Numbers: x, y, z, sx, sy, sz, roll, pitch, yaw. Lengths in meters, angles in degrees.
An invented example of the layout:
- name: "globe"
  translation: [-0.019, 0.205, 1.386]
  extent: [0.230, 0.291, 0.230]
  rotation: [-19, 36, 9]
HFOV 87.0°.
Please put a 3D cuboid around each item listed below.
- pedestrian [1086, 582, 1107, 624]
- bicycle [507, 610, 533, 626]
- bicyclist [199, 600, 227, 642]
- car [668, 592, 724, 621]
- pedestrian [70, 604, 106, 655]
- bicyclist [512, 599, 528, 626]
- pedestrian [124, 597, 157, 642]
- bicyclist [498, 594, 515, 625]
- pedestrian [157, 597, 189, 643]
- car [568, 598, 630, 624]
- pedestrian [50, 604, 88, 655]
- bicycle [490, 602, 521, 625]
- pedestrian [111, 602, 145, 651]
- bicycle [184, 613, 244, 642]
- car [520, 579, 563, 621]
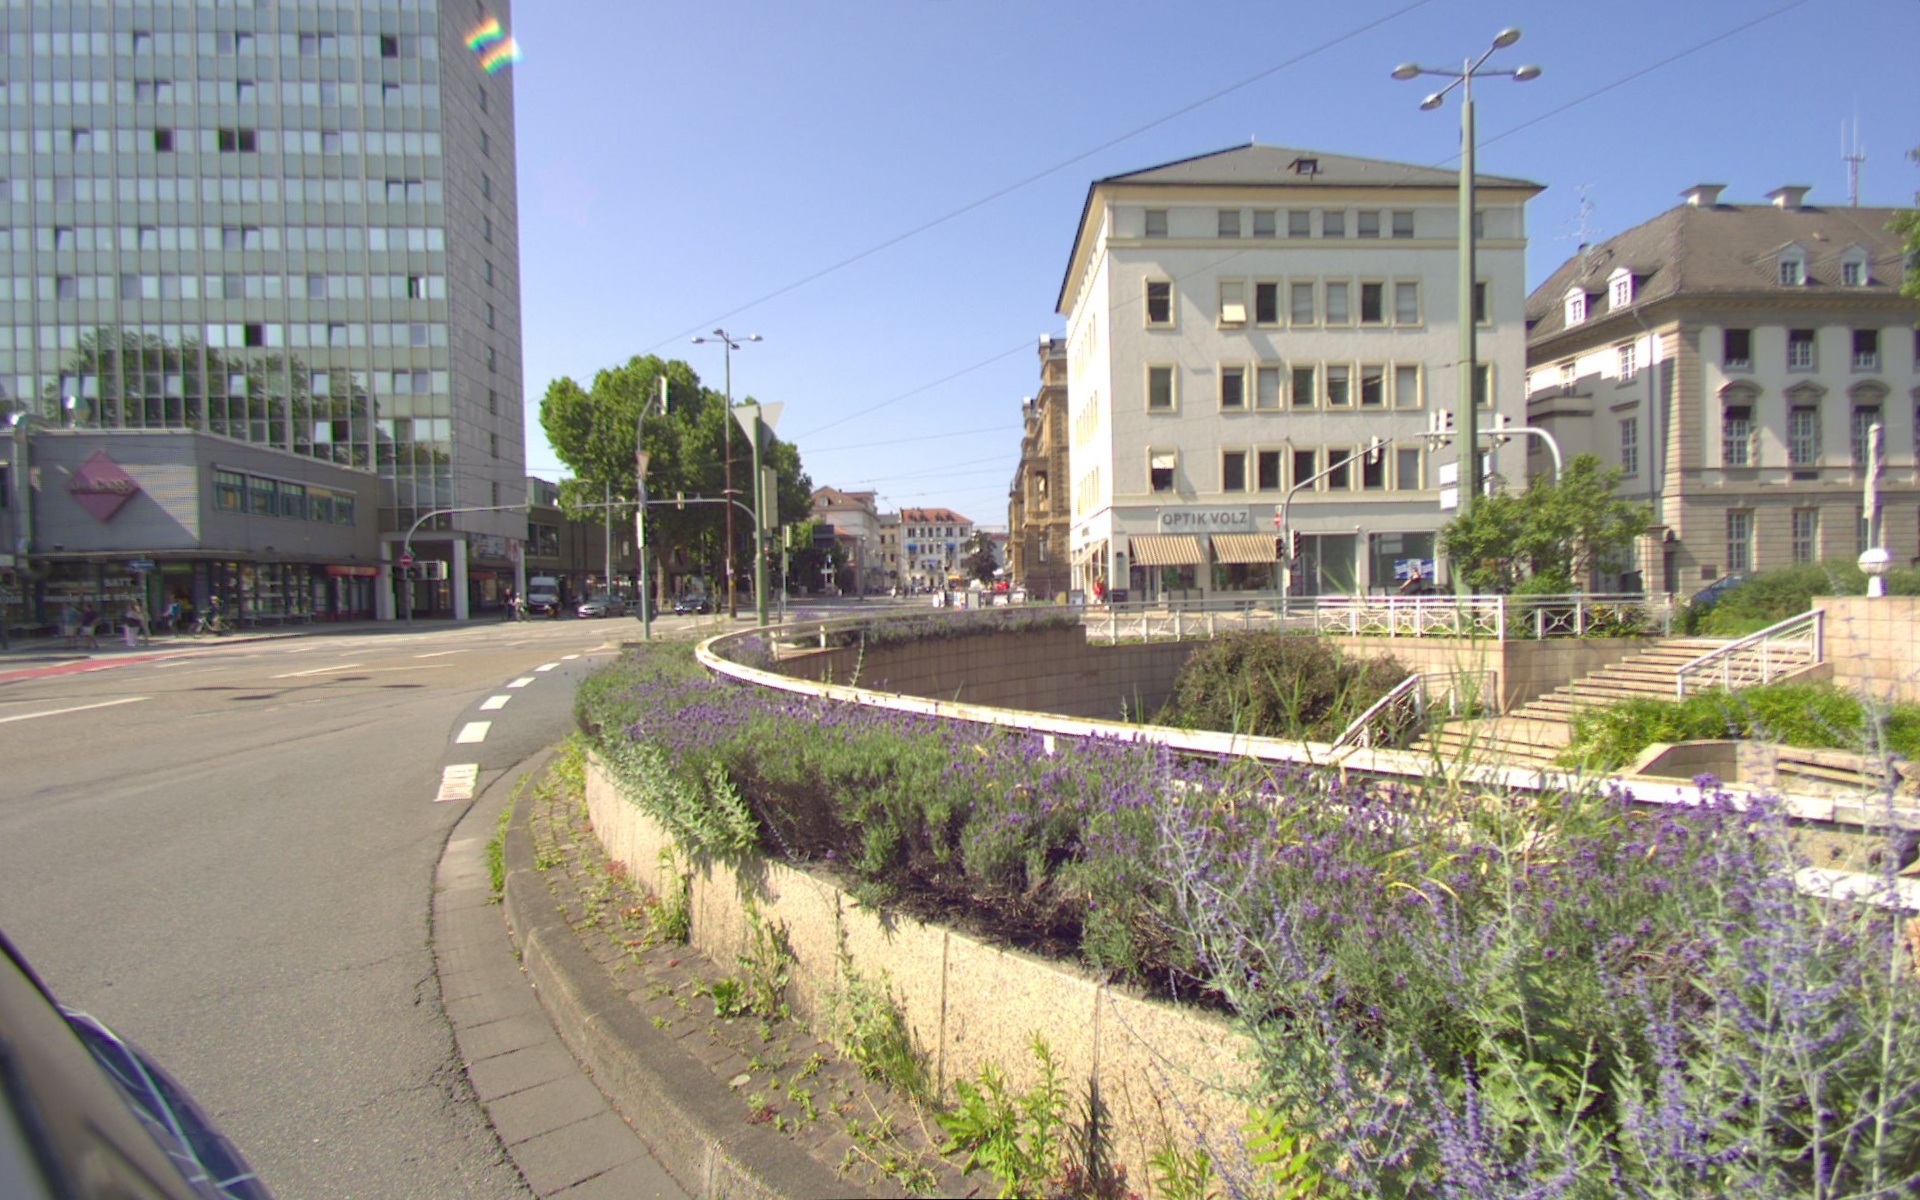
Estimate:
- name: "pedestrian"
  translation: [5.858, 0.116, 43.523]
  extent: [0.641, 1.772, 0.586]
  rotation: [-1, 0, 43]
- name: "bicycle"
  translation: [-25.512, 1.032, 58.725]
  extent: [0.585, 0.889, 1.808]
  rotation: [0, 1, 5]
- name: "bicyclist"
  translation: [-30.864, 0.846, 41.812]
  extent: [0.580, 1.700, 0.678]
  rotation: [-1, 1, 25]
- name: "car"
  translation: [-15.608, 0.368, 60.039]
  extent: [1.860, 1.545, 4.070]
  rotation: [-1, 1, 7]
- name: "pedestrian"
  translation: [-32.569, 1.090, 37.826]
  extent: [0.661, 1.850, 0.825]
  rotation: [-1, 0, -6]
- name: "bicyclist"
  translation: [-25.513, 0.701, 58.693]
  extent: [0.575, 1.538, 0.683]
  rotation: [0, 1, 5]
- name: "pedestrian"
  translation: [-33.952, 0.795, 41.930]
  extent: [0.667, 1.820, 0.817]
  rotation: [-1, 0, 24]
- name: "bicyclist"
  translation: [-27.033, 0.553, 60.304]
  extent: [0.690, 1.781, 0.682]
  rotation: [0, 1, 11]
- name: "pedestrian"
  translation: [-32.462, 0.823, 41.766]
  extent: [0.667, 1.850, 0.817]
  rotation: [-1, 0, 25]
- name: "car"
  translation: [-21.948, 0.655, 61.750]
  extent: [1.860, 1.471, 4.155]
  rotation: [-1, 1, 7]
- name: "pedestrian"
  translation: [-33.250, 1.096, 37.782]
  extent: [0.724, 1.850, 0.825]
  rotation: [-1, 0, -6]
- name: "bicycle"
  translation: [-27.041, 0.786, 60.259]
  extent: [0.709, 1.309, 1.933]
  rotation: [0, 1, 11]
- name: "pedestrian"
  translation: [-31.714, 1.008, 38.593]
  extent: [0.661, 1.850, 0.825]
  rotation: [-1, 0, -7]
- name: "bicycle"
  translation: [-30.841, 1.140, 41.877]
  extent: [0.573, 1.110, 1.953]
  rotation: [-1, 1, 24]
- name: "car"
  translation: [-30.385, -0.038, 73.601]
  extent: [1.720, 2.938, 4.644]
  rotation: [-2, 1, -8]
